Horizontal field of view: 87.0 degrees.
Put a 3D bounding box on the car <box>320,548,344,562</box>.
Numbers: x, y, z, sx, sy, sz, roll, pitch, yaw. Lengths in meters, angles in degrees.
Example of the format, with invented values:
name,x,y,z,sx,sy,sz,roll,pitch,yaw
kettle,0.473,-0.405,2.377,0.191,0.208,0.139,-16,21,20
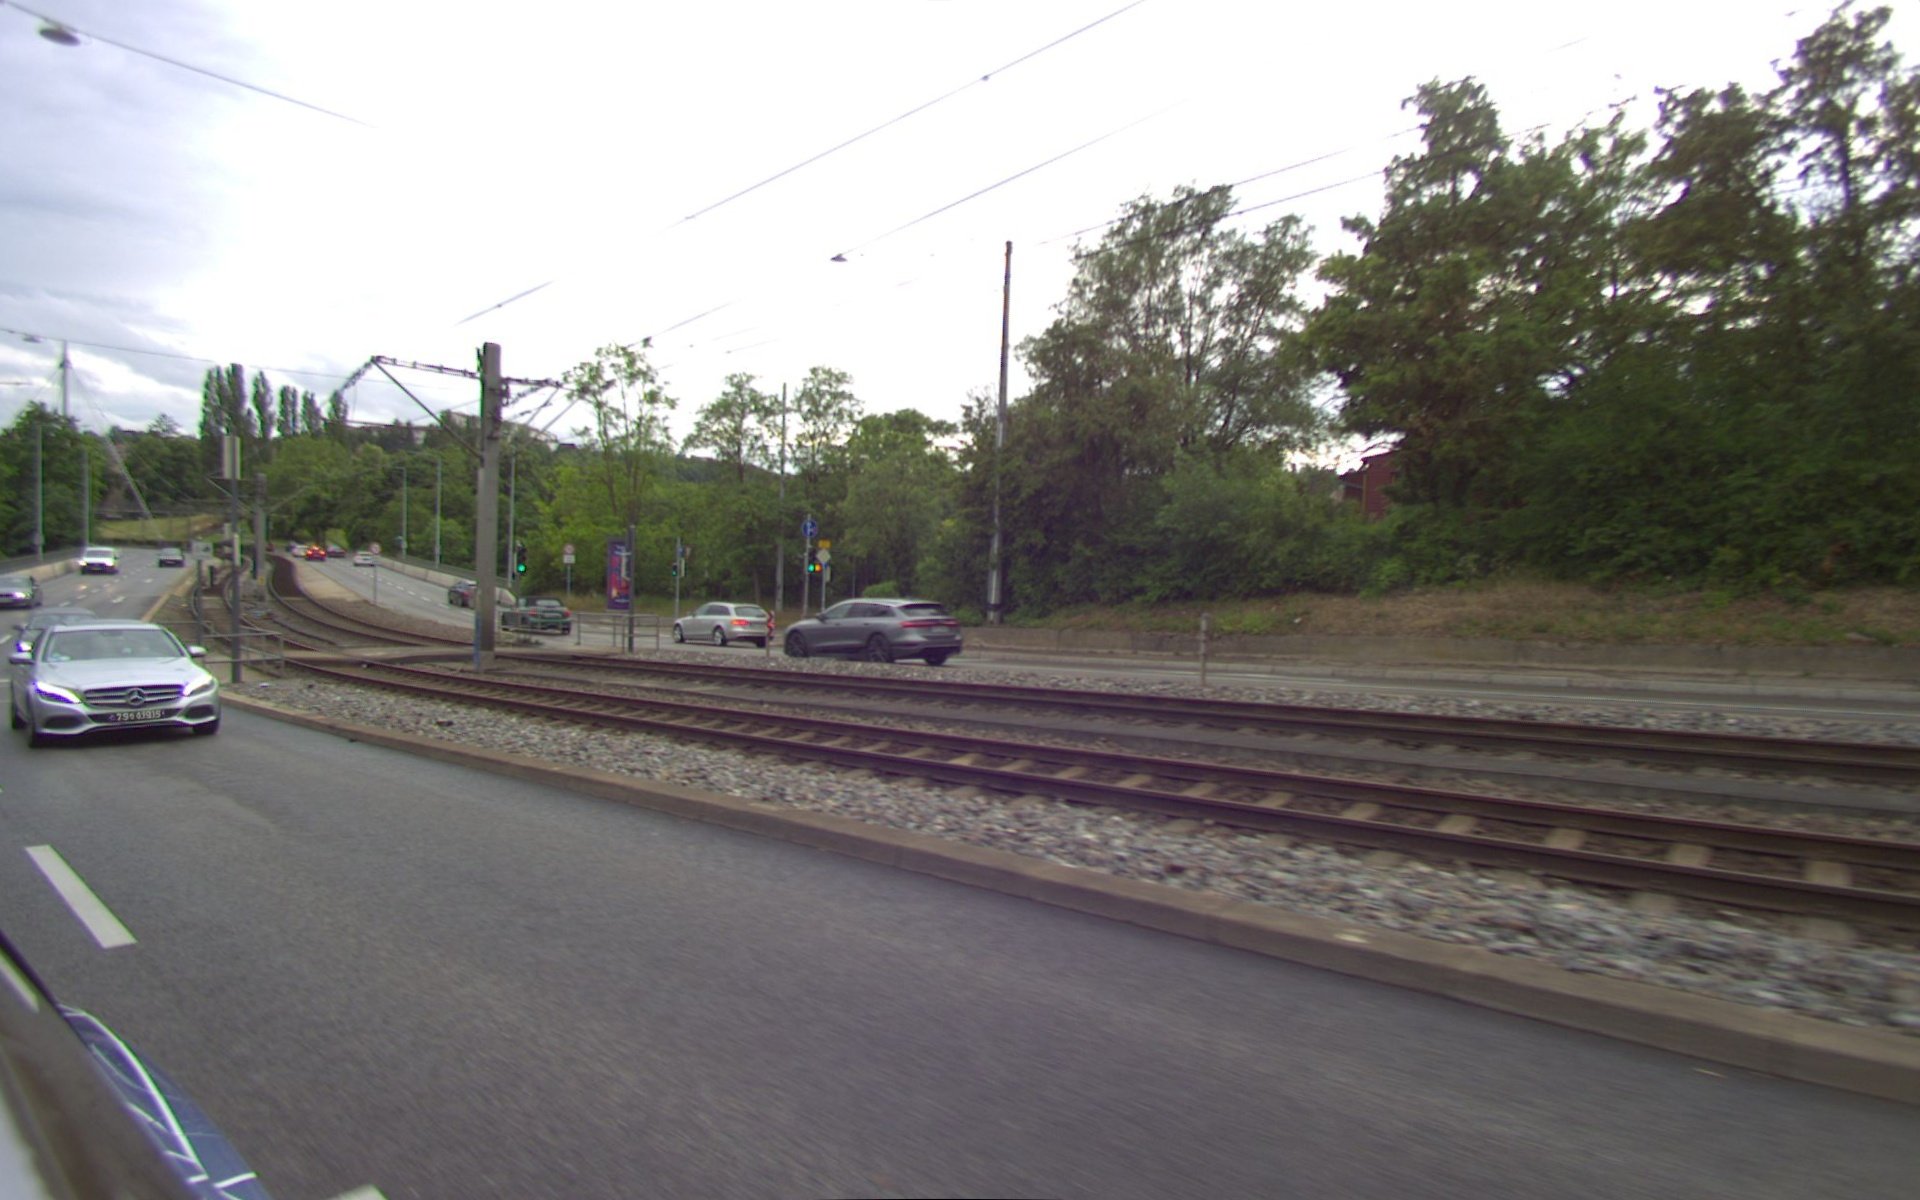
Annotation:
name,x,y,z,sx,sy,sz,roll,pitch,yaw
car,-79.622,-5.740,128.219,1.944,1.609,5.195,2,2,-39

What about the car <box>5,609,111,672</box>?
name,x,y,z,sx,sy,sz,roll,pitch,yaw
car,-22.515,0.954,25.215,4.002,1.362,1.712,1,1,45

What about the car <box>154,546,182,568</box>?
name,x,y,z,sx,sy,sz,roll,pitch,yaw
car,-68.920,-3.676,88.026,1.741,1.830,4.007,-1,2,-40

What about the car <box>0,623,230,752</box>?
name,x,y,z,sx,sy,sz,roll,pitch,yaw
car,-10.970,0.992,13.008,4.060,1.366,1.846,-1,-1,43

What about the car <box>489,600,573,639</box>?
name,x,y,z,sx,sy,sz,roll,pitch,yaw
car,-16.505,0.746,38.845,1.614,1.395,3.897,3,-2,-45

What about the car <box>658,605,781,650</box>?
name,x,y,z,sx,sy,sz,roll,pitch,yaw
car,-8.081,0.883,33.805,4.708,1.390,1.798,-1,-1,45

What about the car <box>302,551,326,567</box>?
name,x,y,z,sx,sy,sz,roll,pitch,yaw
car,-73.734,-4.696,115.477,1.824,1.609,4.743,2,2,-37

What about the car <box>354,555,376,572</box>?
name,x,y,z,sx,sy,sz,roll,pitch,yaw
car,-62.119,-3.842,105.620,1.796,1.526,4.542,1,3,-34

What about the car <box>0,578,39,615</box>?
name,x,y,z,sx,sy,sz,roll,pitch,yaw
car,-41.304,-0.170,43.851,1.741,1.512,4.008,-1,2,-38

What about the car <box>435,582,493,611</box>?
name,x,y,z,sx,sy,sz,roll,pitch,yaw
car,-28.144,-0.229,57.367,1.696,1.469,4.279,0,3,-45

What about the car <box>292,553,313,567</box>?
name,x,y,z,sx,sy,sz,roll,pitch,yaw
car,-81.804,-5.019,125.931,1.708,1.447,4.502,2,3,-39

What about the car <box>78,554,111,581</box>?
name,x,y,z,sx,sy,sz,roll,pitch,yaw
car,-62.797,-2.307,73.494,1.741,1.830,4.007,-1,0,-40

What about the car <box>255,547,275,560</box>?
name,x,y,z,sx,sy,sz,roll,pitch,yaw
car,-98.132,-6.582,142.890,3.019,1.504,1.583,7,4,43

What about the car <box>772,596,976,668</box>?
name,x,y,z,sx,sy,sz,roll,pitch,yaw
car,-2.033,0.714,22.809,4.856,1.449,1.841,-1,-3,43
